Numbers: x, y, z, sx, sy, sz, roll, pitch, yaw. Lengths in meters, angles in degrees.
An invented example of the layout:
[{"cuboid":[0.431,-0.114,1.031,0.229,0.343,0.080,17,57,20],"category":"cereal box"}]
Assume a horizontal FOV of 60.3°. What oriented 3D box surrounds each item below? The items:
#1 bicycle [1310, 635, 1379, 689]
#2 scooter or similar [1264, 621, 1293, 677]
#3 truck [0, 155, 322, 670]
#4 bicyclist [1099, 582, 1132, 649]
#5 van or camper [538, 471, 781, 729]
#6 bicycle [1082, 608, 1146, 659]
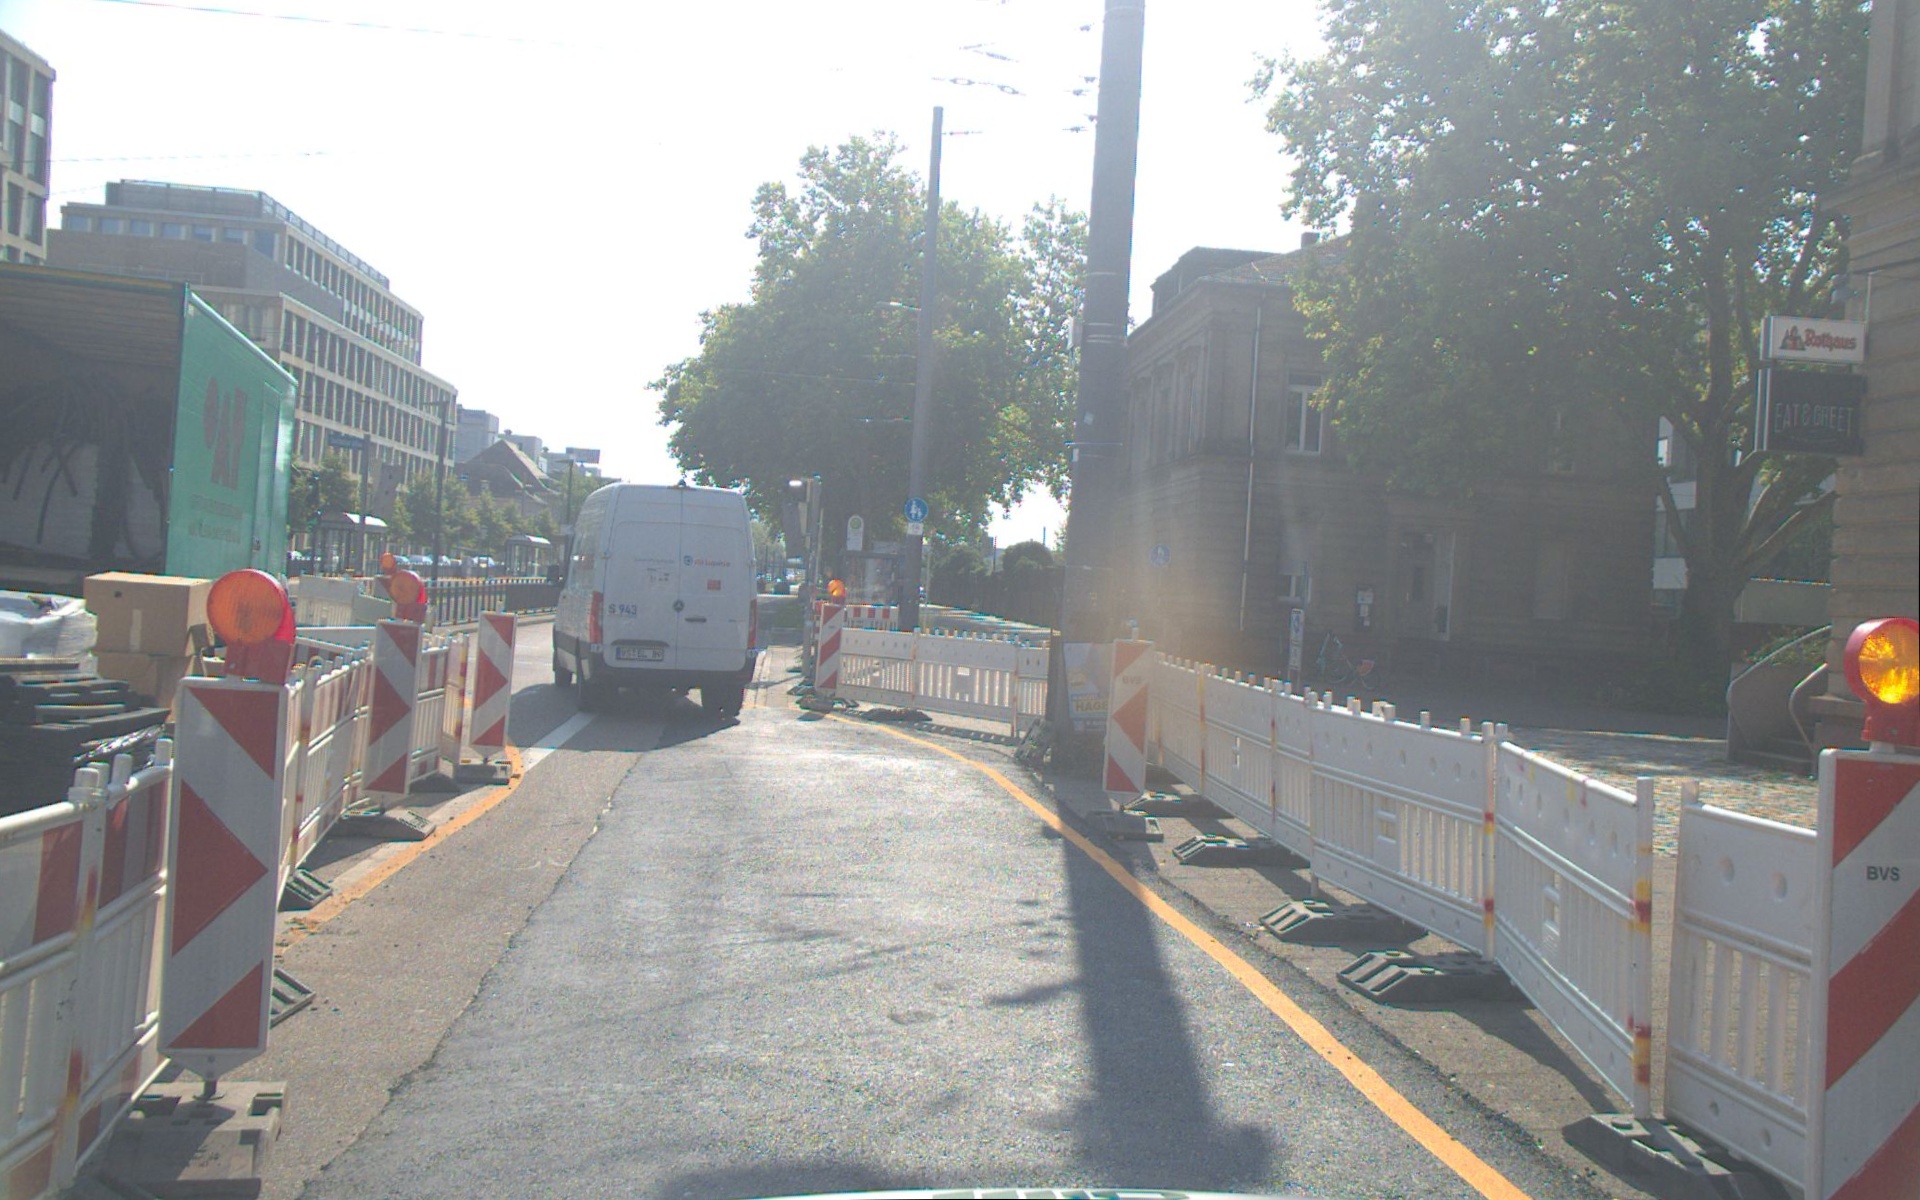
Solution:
[{"cuboid":[8.779,1.413,37.794,0.485,1.016,1.805,3,3,-24],"category":"bicycle"},{"cuboid":[7.399,1.131,38.500,0.416,1.249,1.173,3,1,2],"category":"scooter or similar"},{"cuboid":[-8.633,-1.676,17.279,2.749,3.979,8.380,5,1,-17],"category":"truck"},{"cuboid":[3.775,0.378,40.167,0.464,1.566,0.589,3,0,-33],"category":"bicyclist"},{"cuboid":[-3.973,-0.055,21.030,2.084,2.728,5.222,5,0,-19],"category":"van or camper"},{"cuboid":[3.728,0.801,40.216,0.486,1.107,1.837,3,1,-33],"category":"bicycle"}]
